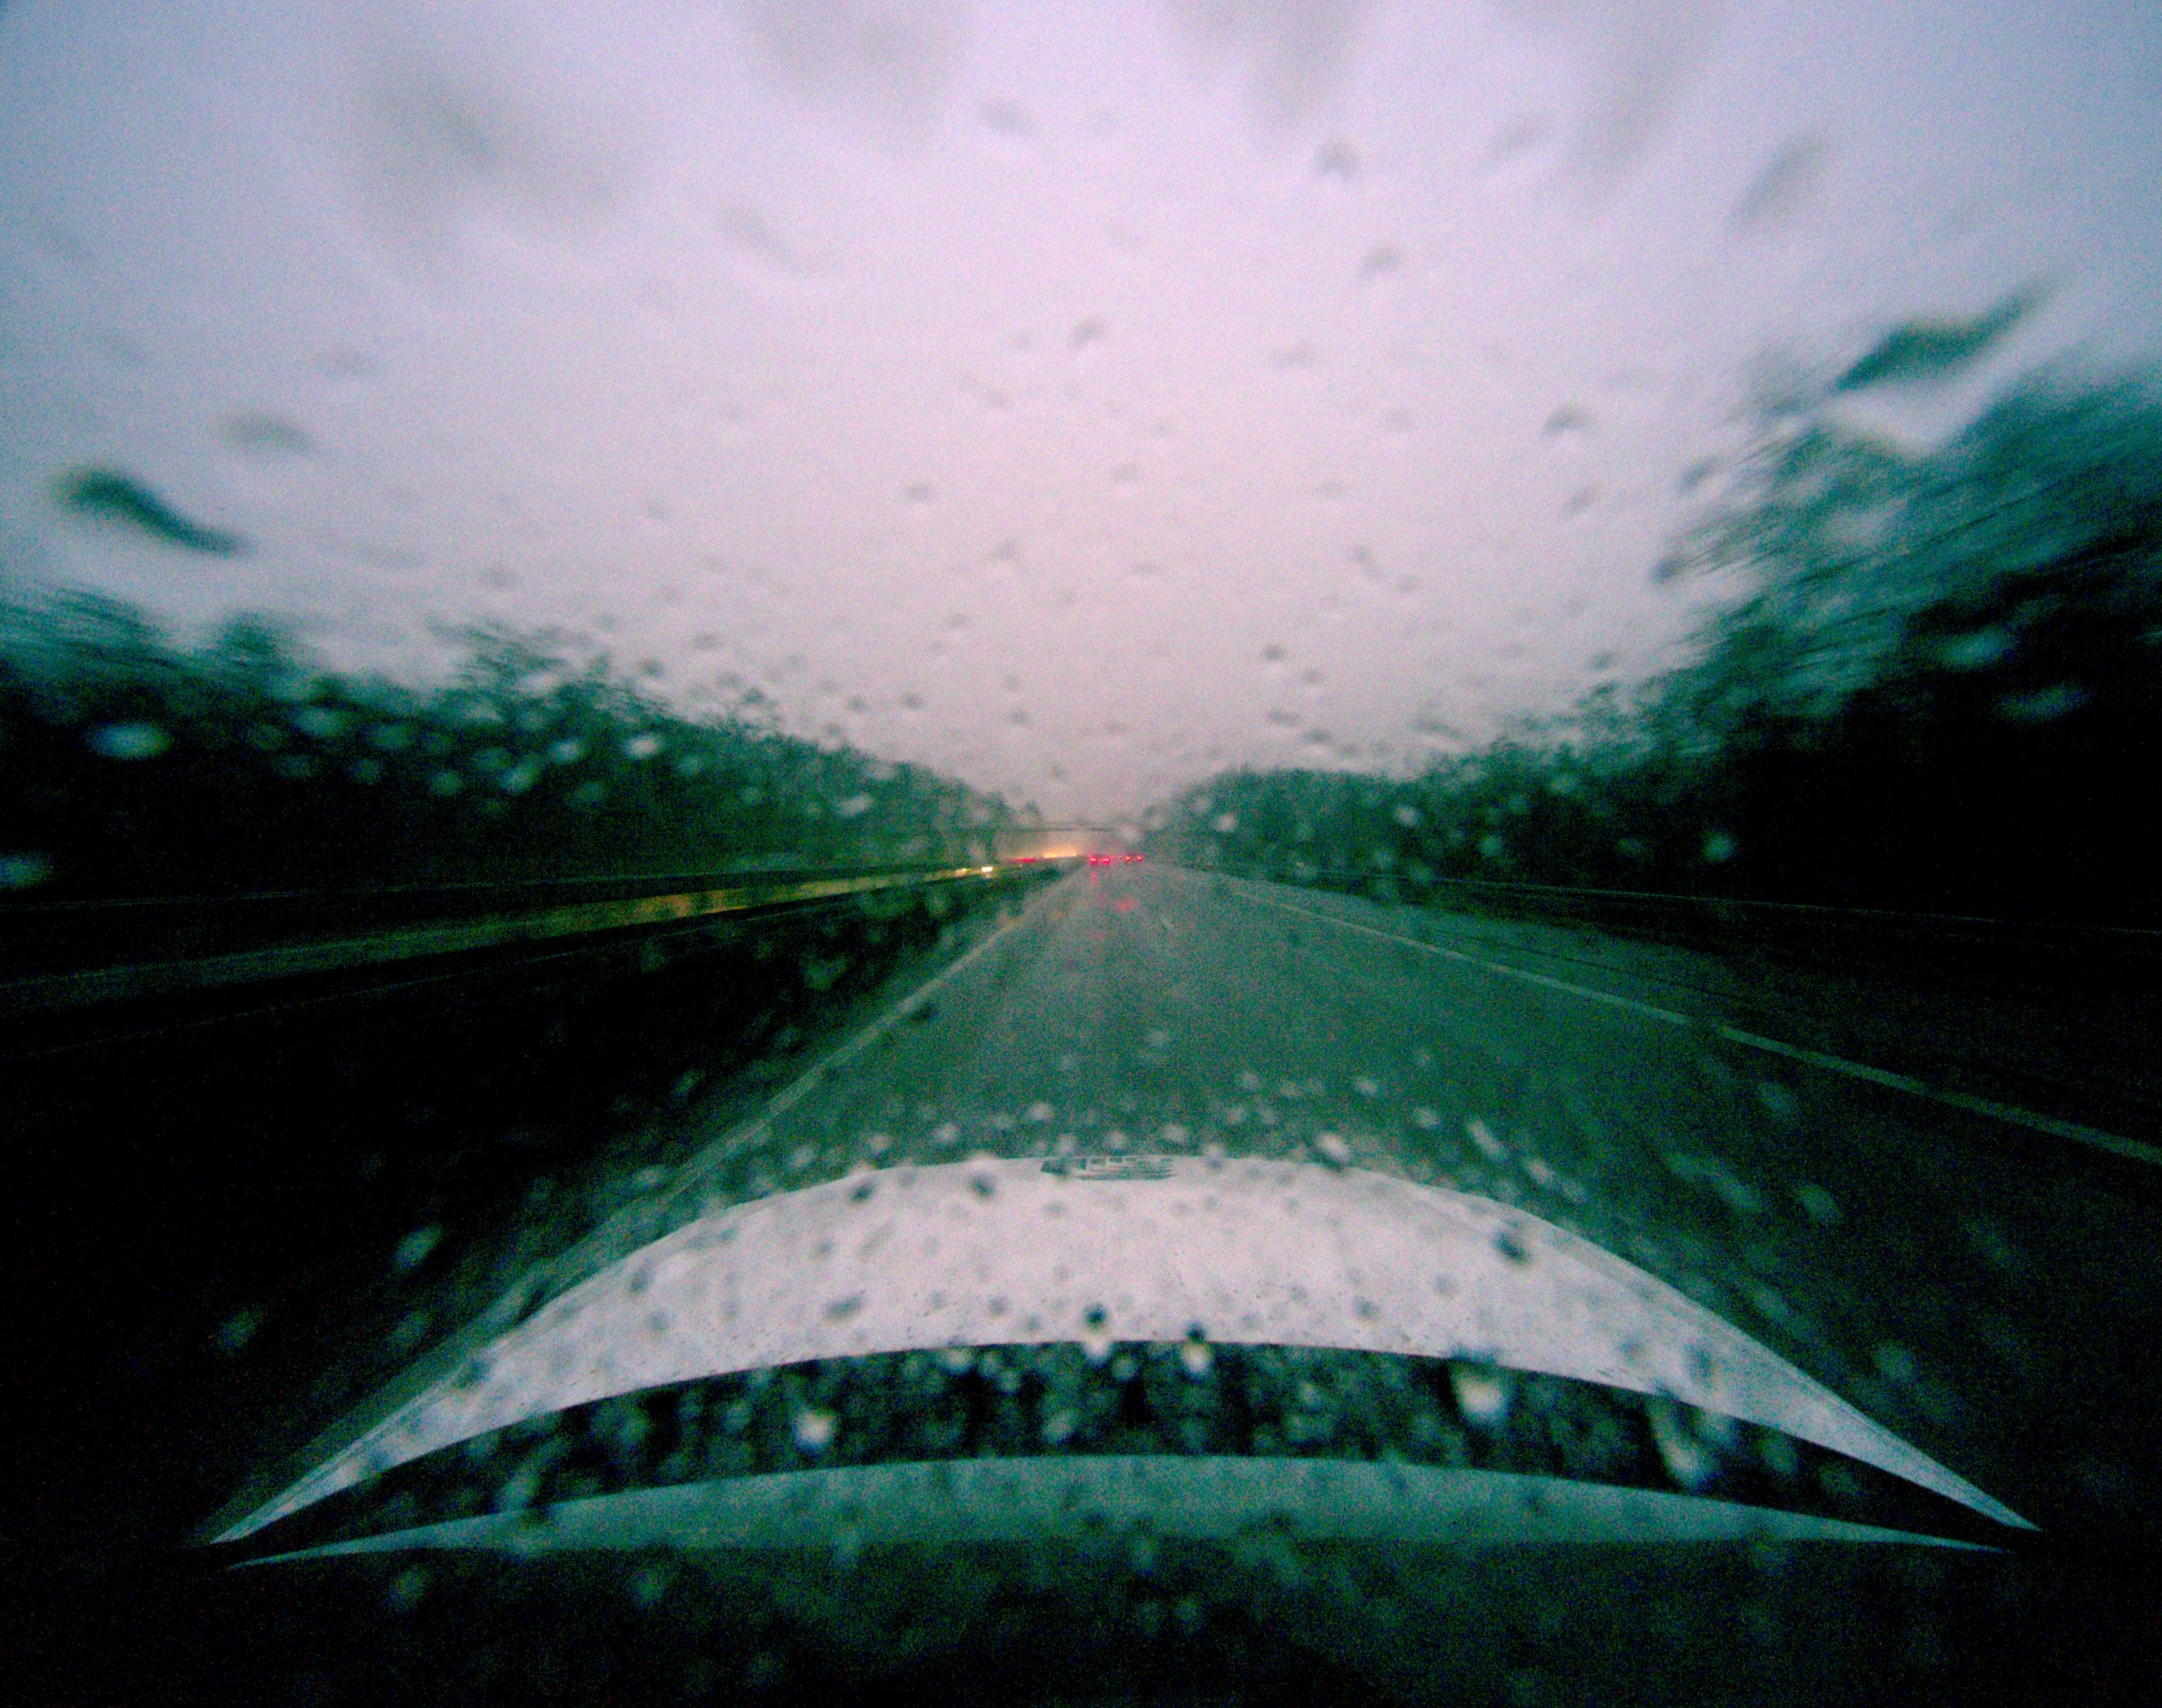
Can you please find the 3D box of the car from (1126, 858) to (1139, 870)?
[{"bbox_3d":[6.169,1.171,97.717,1.448,1.429,3.491,-1,0,2],"label":"car"}]

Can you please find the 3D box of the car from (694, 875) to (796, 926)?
[{"bbox_3d":[-10.897,1.456,26.713,1.493,1.396,4.055,-1,0,2],"label":"car"}]

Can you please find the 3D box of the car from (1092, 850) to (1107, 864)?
[{"bbox_3d":[1.797,0.296,77.838,1.448,1.343,3.491,0,0,2],"label":"car"}]
